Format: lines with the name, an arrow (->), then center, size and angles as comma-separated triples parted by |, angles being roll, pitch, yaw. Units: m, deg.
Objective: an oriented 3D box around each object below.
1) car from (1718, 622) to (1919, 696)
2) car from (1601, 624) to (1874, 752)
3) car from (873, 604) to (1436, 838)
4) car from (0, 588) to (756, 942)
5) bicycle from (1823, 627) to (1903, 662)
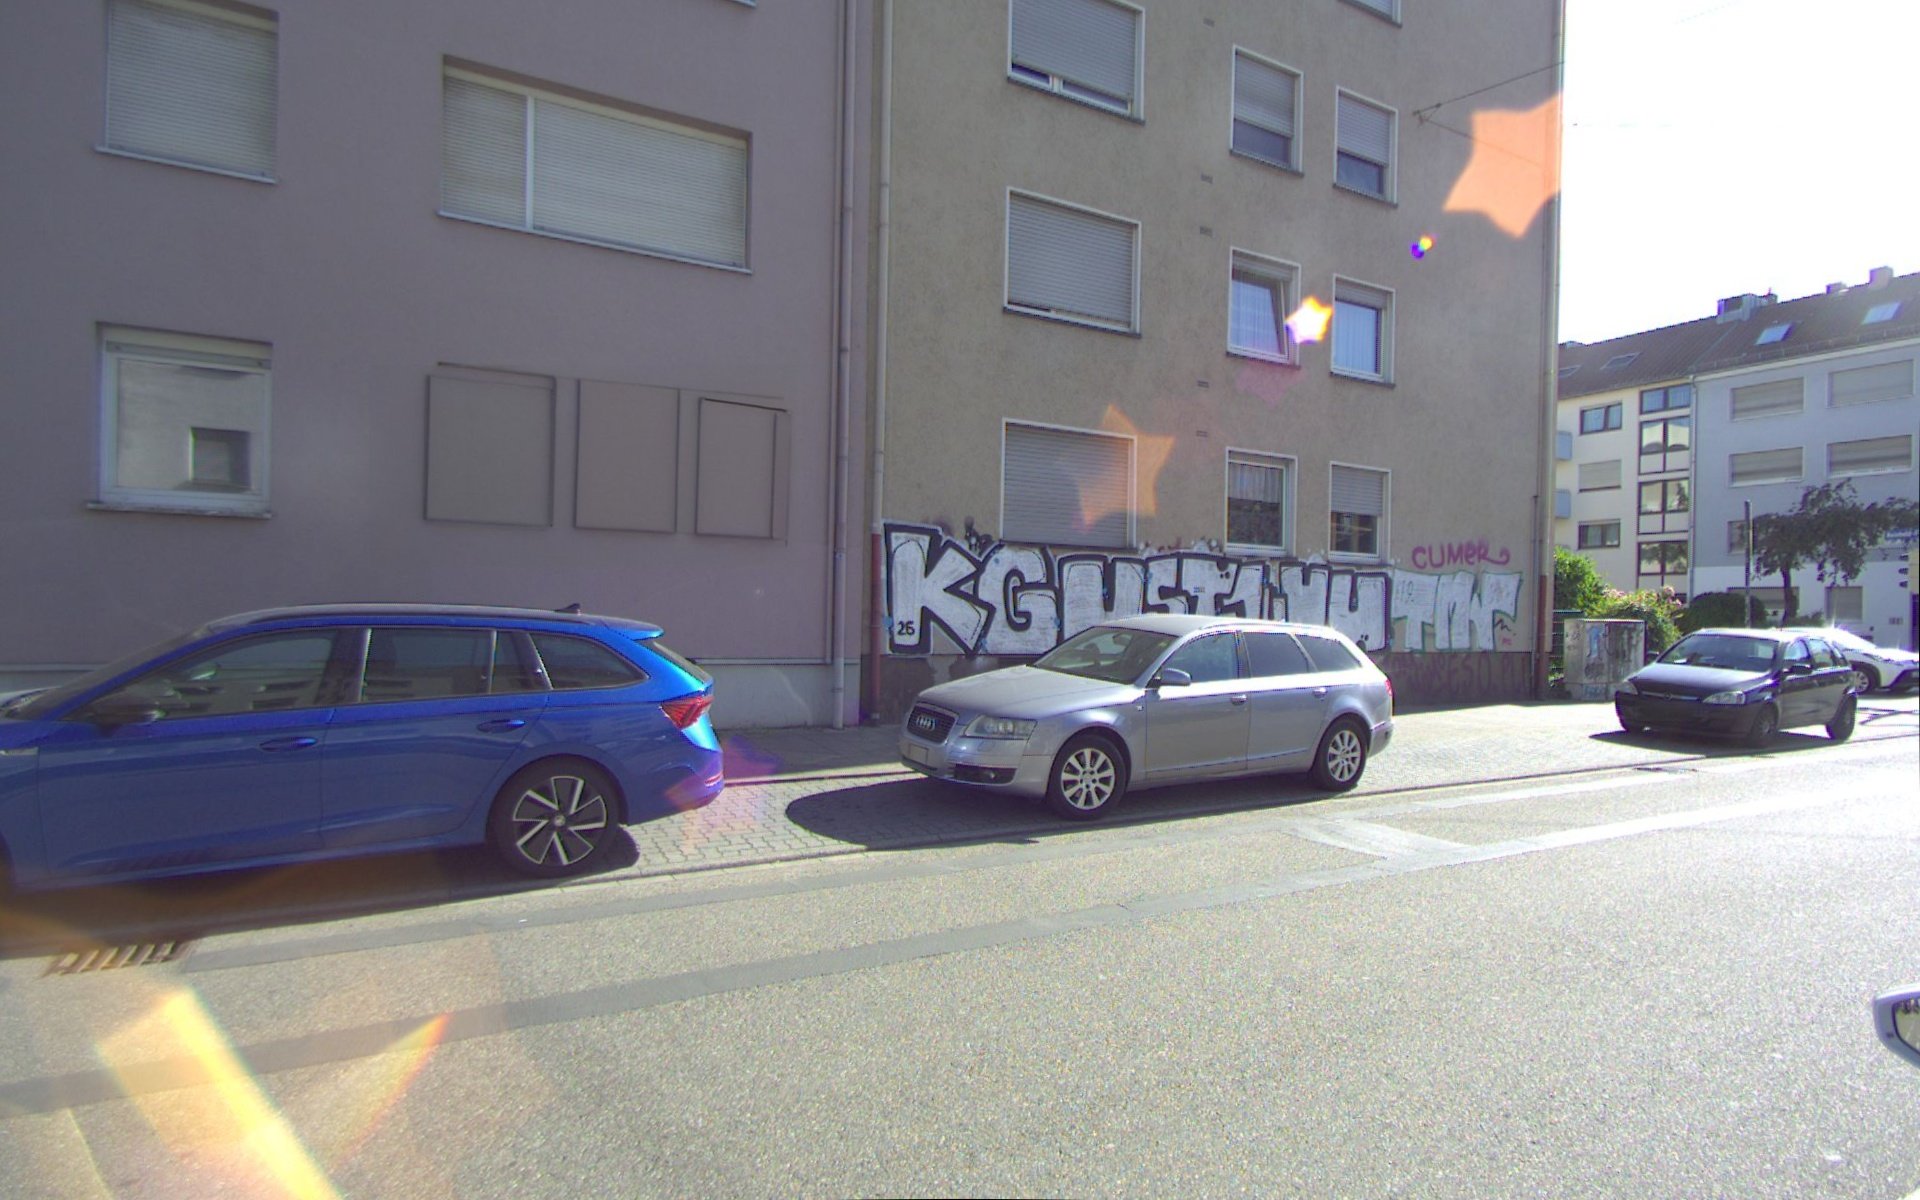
car -> 21.194, 1.363, 24.686 | 1.745, 1.557, 3.767 | -1, 0, -21
car -> 10.547, 1.098, 13.596 | 3.666, 1.444, 1.609 | 1, 1, -30
car -> 1.784, 0.854, 8.624 | 4.758, 1.485, 1.709 | 1, 2, -30
car -> -3.635, 0.741, 5.671 | 4.557, 1.485, 1.709 | 1, 2, -30
bicycle -> 32.322, 1.588, 36.005 | 2.068, 1.188, 0.737 | 0, -1, 38
